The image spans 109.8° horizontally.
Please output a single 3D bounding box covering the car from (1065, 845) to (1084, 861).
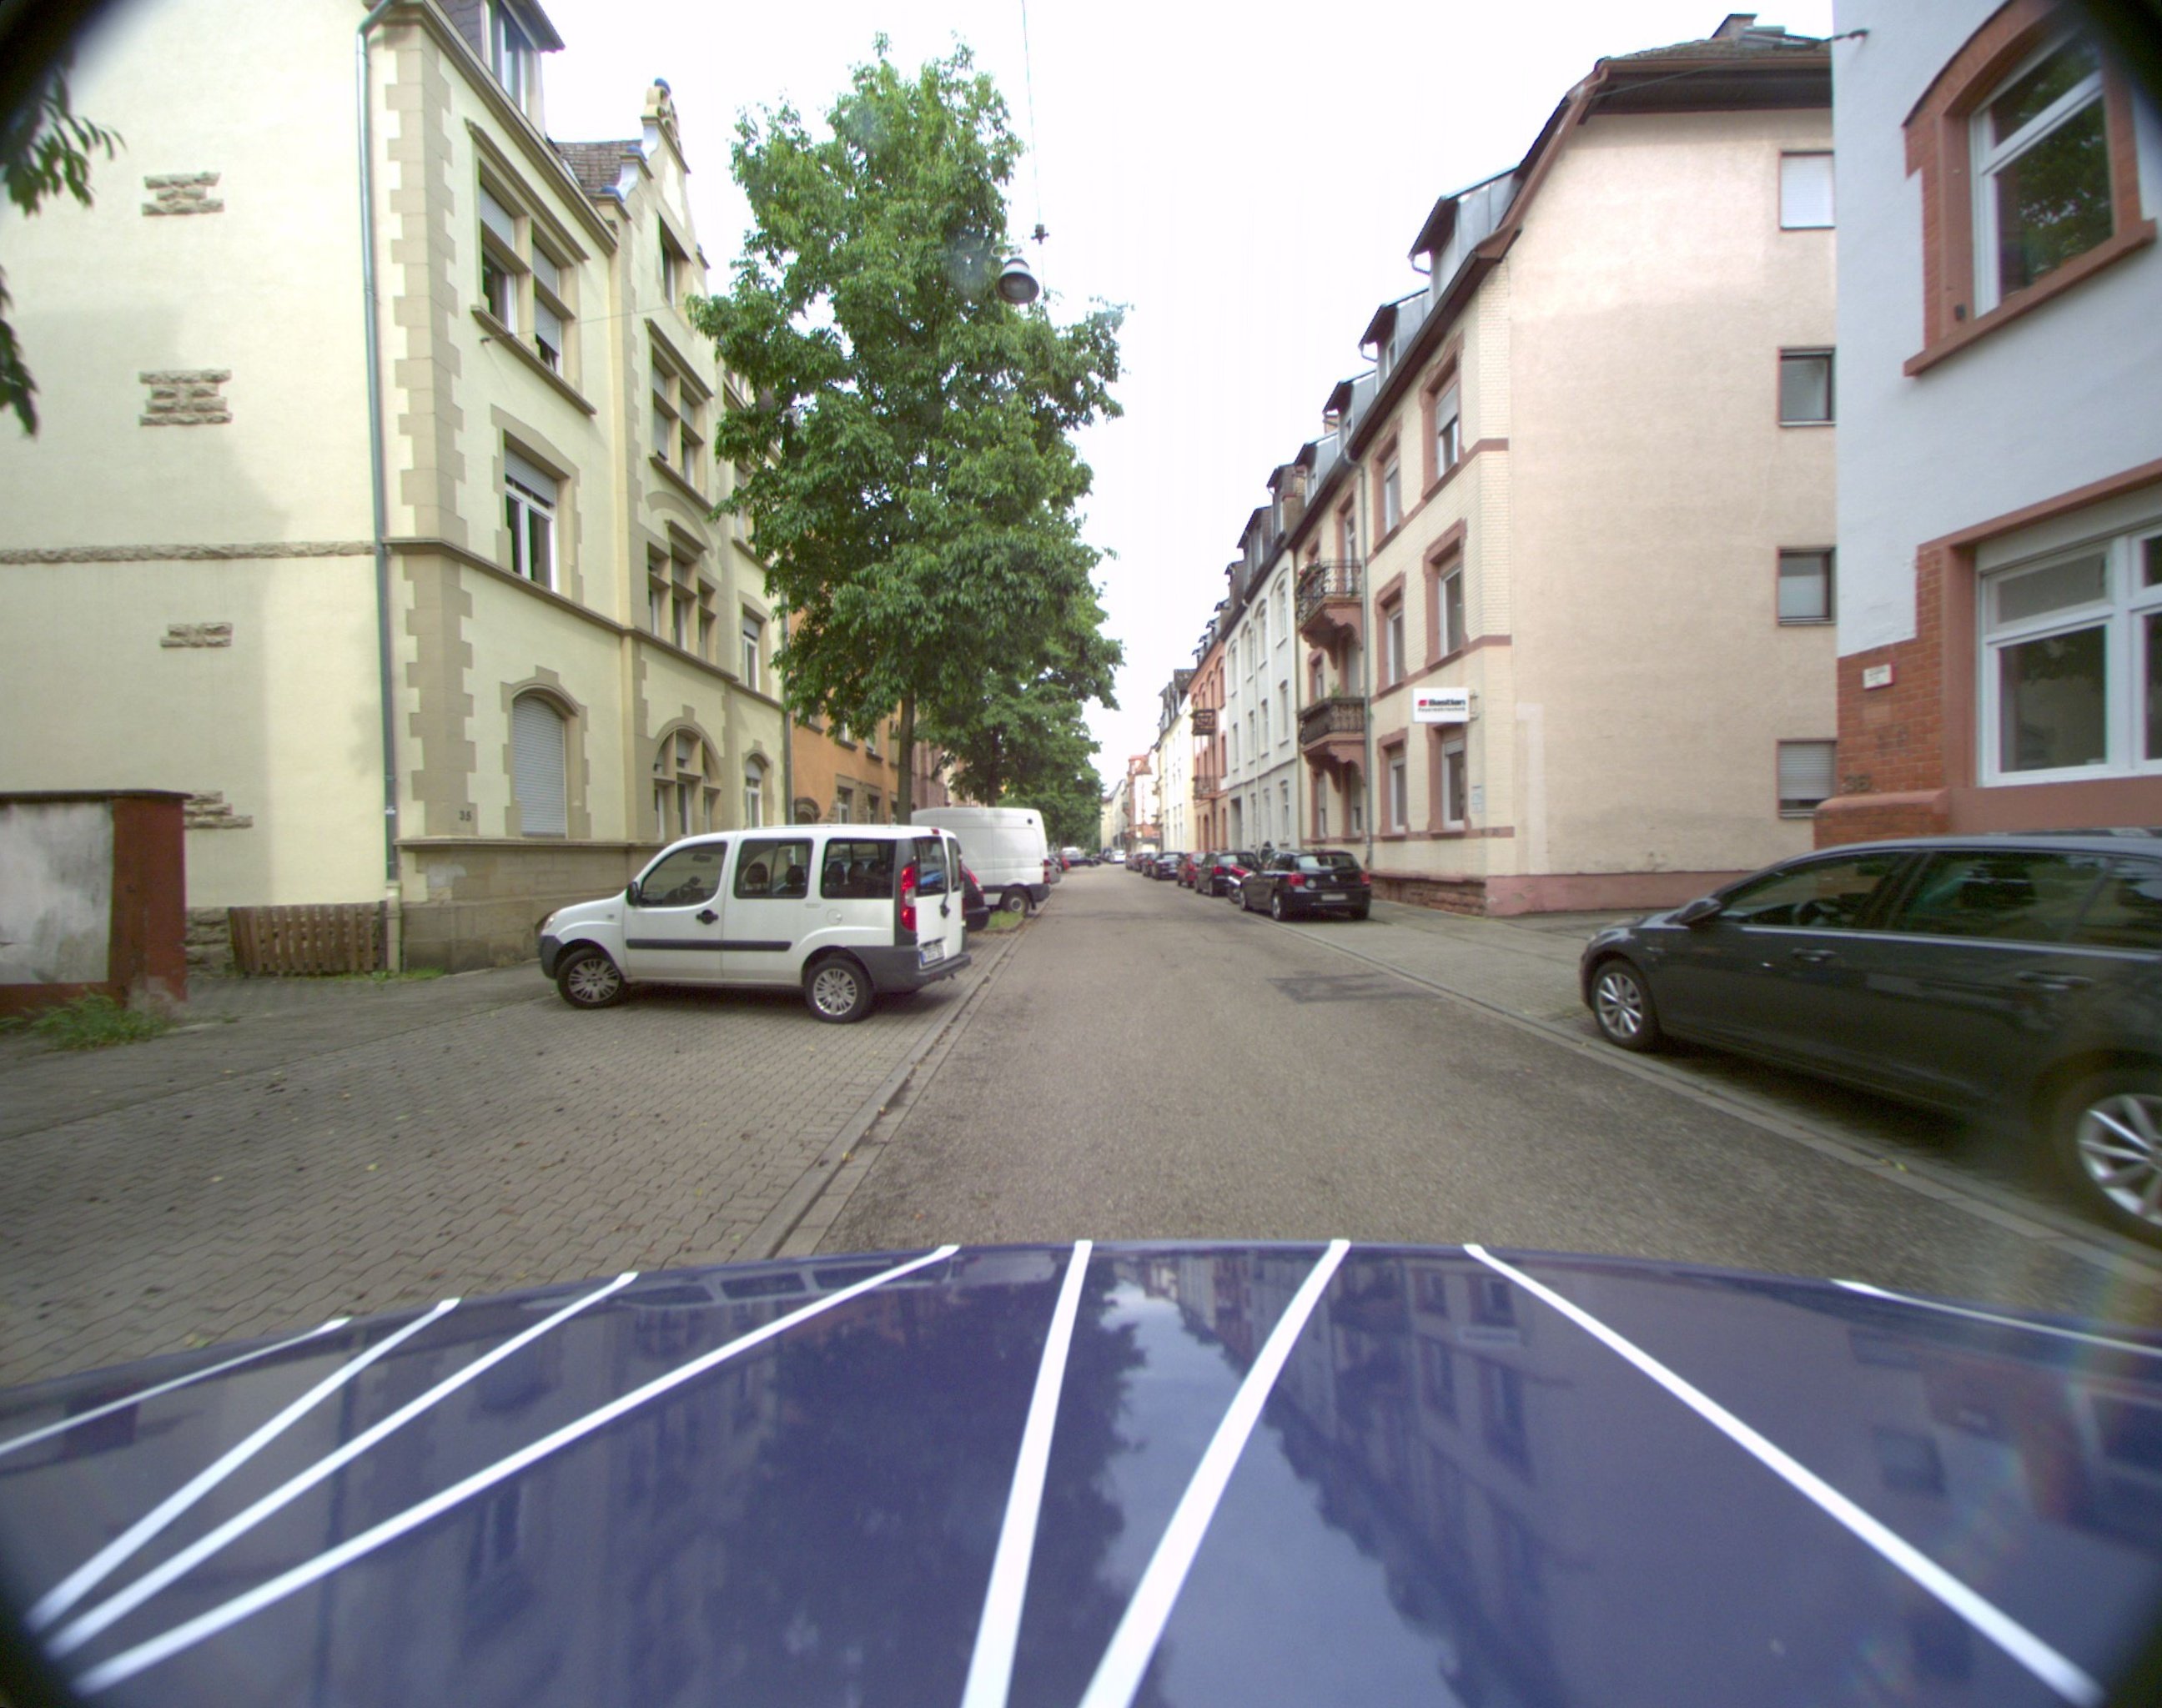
[{"bbox_3d":[-0.762,-0.147,89.614,1.998,1.739,4.001,-2,0,3],"label":"car"}]

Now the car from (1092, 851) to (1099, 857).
[{"bbox_3d":[3.977,-0.011,206.890,1.458,1.401,3.807,-1,0,-8],"label":"car"}]

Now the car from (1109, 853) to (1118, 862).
[{"bbox_3d":[5.595,0.562,132.256,1.457,1.401,3.811,-3,0,2],"label":"car"}]

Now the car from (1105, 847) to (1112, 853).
[{"bbox_3d":[5.839,-0.853,160.073,1.457,1.401,3.811,2,1,2],"label":"car"}]

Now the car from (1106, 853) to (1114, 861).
[{"bbox_3d":[5.459,0.621,141.868,1.457,1.401,3.811,-3,0,2],"label":"car"}]

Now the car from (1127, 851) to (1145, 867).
[{"bbox_3d":[5.073,0.431,70.052,1.457,1.401,3.811,-3,0,2],"label":"car"}]

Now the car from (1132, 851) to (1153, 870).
[{"bbox_3d":[4.883,0.505,60.615,1.457,1.401,3.811,-3,0,2],"label":"car"}]

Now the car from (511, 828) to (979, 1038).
[{"bbox_3d":[-3.224,0.698,7.673,3.994,1.801,1.721,-1,1,9],"label":"car"}]

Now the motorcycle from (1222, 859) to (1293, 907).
[{"bbox_3d":[4.592,0.757,19.754,1.710,1.218,0.487,-2,1,19],"label":"motorcycle"}]

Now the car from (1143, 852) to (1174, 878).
[{"bbox_3d":[4.564,0.610,45.113,1.457,1.401,3.811,-3,0,2],"label":"car"}]

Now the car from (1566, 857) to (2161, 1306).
[{"bbox_3d":[4.296,0.760,3.606,1.469,1.408,3.918,-3,0,1],"label":"car"}]

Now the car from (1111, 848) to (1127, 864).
[{"bbox_3d":[5.256,0.285,104.420,2.052,2.071,3.811,-3,0,2],"label":"car"}]

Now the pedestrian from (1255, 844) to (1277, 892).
[{"bbox_3d":[6.358,0.482,26.141,0.577,1.599,0.544,-2,1,0],"label":"pedestrian"}]

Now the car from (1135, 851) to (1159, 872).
[{"bbox_3d":[4.776,0.529,55.496,1.457,1.401,3.811,-3,0,2],"label":"car"}]

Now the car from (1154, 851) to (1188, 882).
[{"bbox_3d":[4.570,0.620,38.860,1.457,1.402,3.041,-3,2,3],"label":"car"}]

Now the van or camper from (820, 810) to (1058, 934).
[{"bbox_3d":[-3.278,0.342,17.863,5.077,2.576,2.069,-1,1,-30],"label":"van or camper"}]

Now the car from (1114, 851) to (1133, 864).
[{"bbox_3d":[5.186,0.465,93.143,2.082,1.446,4.253,-3,0,2],"label":"car"}]

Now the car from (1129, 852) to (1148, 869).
[{"bbox_3d":[4.916,0.543,65.428,1.457,1.401,3.811,-3,0,2],"label":"car"}]

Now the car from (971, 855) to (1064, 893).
[{"bbox_3d":[-2.746,0.835,32.804,3.612,1.458,1.626,-2,0,-31],"label":"car"}]

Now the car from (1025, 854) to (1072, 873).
[{"bbox_3d":[-2.707,0.761,62.430,3.607,1.458,1.628,-2,0,-13],"label":"car"}]

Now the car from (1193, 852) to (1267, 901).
[{"bbox_3d":[4.648,0.658,24.144,1.659,1.375,3.472,-3,0,1],"label":"car"}]

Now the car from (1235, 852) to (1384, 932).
[{"bbox_3d":[4.574,0.691,15.873,1.904,1.382,4.000,-2,0,1],"label":"car"}]

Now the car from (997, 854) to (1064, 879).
[{"bbox_3d":[-3.362,0.784,50.329,4.150,1.490,1.838,-2,0,-12],"label":"car"}]

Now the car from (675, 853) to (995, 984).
[{"bbox_3d":[-3.637,0.815,11.401,4.284,1.608,1.758,-1,1,-29],"label":"car"}]

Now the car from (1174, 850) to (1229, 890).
[{"bbox_3d":[4.764,0.599,30.400,1.610,1.463,3.342,-1,0,0],"label":"car"}]
